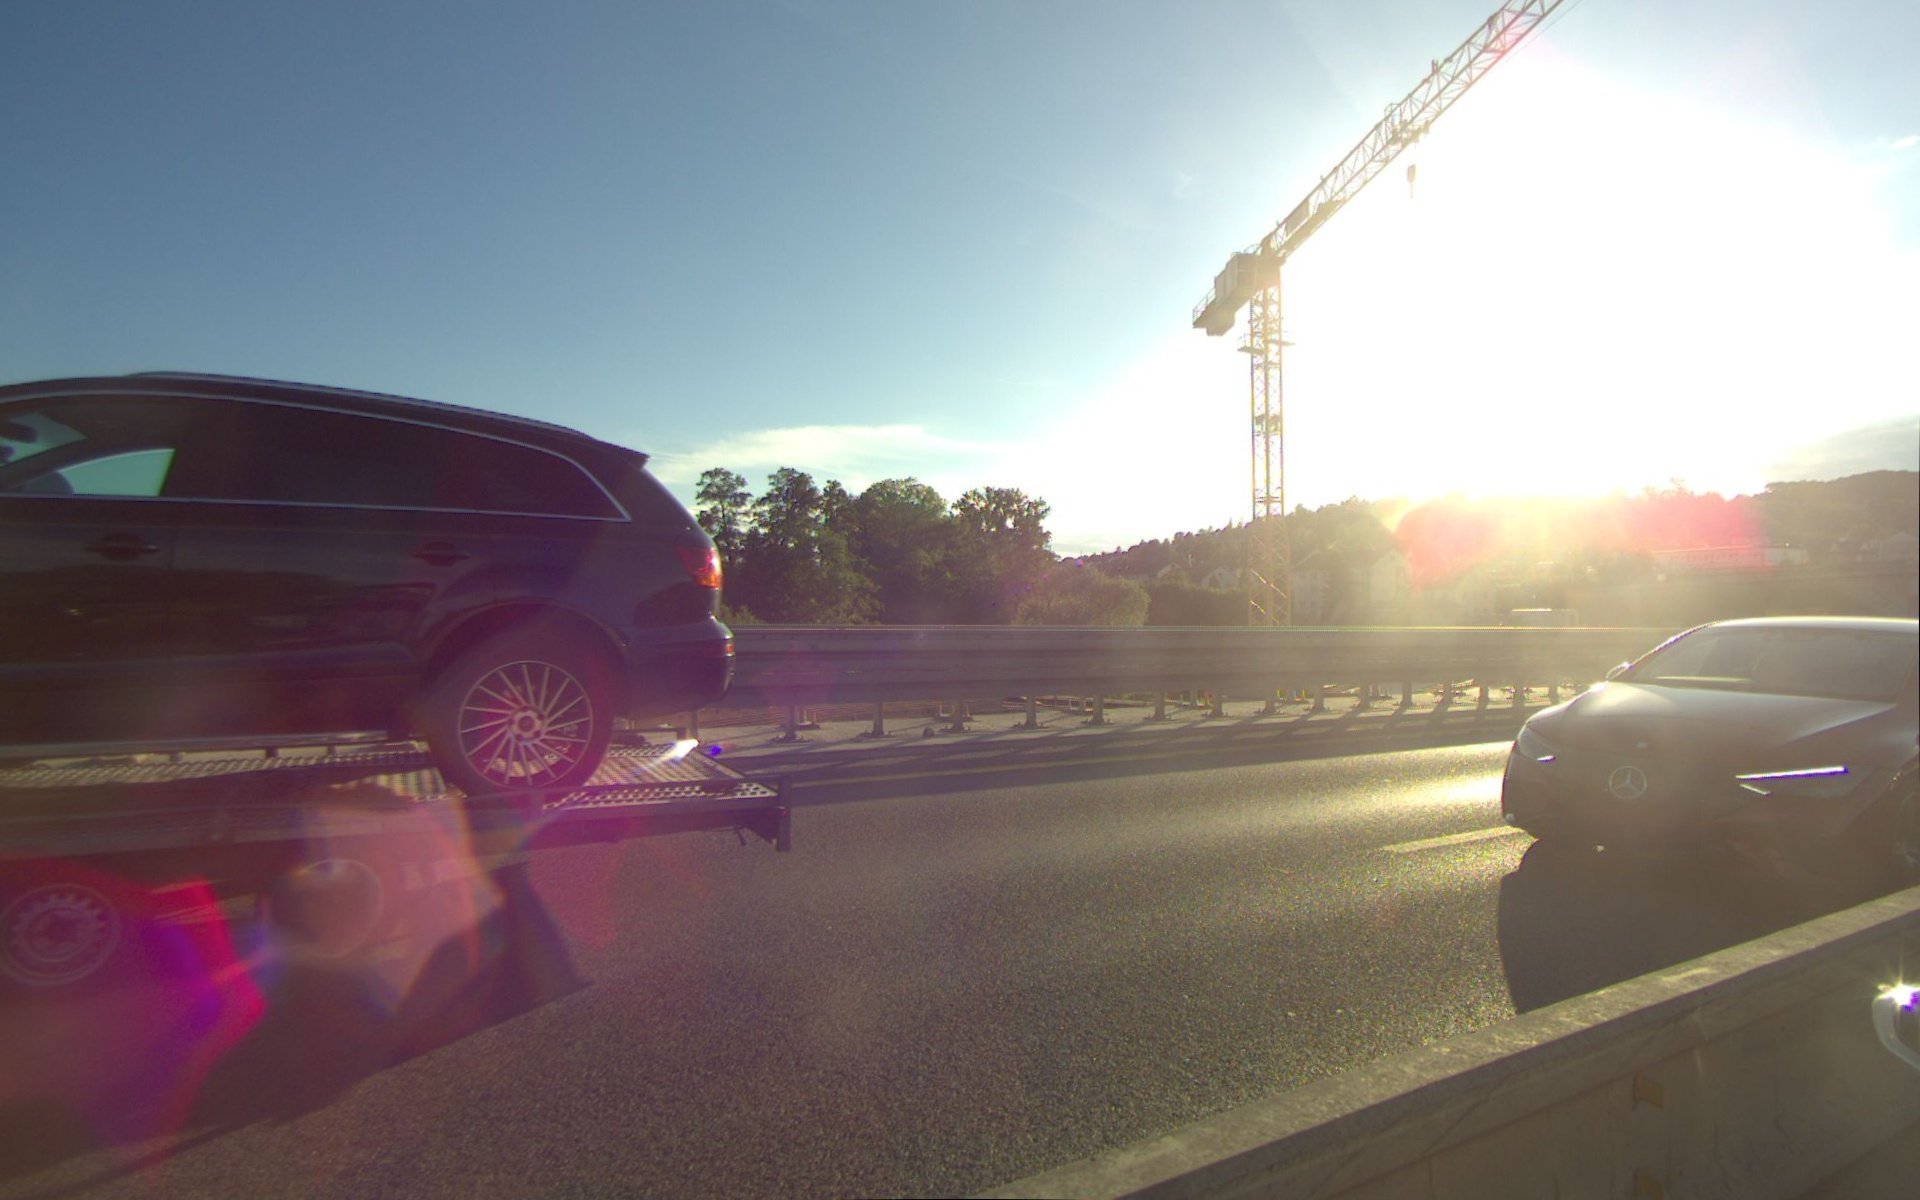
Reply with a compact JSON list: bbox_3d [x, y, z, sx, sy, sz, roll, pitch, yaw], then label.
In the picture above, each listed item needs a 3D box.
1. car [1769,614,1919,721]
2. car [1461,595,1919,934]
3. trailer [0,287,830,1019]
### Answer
[{"bbox_3d":[15.278,1.051,16.621,4.040,1.572,1.609,1,0,-30],"label":"car"},{"bbox_3d":[6.113,0.808,6.942,5.715,1.550,1.983,1,0,-31],"label":"car"},{"bbox_3d":[-3.384,0.175,4.467,5.159,2.453,2.066,1,0,-31],"label":"trailer"}]
